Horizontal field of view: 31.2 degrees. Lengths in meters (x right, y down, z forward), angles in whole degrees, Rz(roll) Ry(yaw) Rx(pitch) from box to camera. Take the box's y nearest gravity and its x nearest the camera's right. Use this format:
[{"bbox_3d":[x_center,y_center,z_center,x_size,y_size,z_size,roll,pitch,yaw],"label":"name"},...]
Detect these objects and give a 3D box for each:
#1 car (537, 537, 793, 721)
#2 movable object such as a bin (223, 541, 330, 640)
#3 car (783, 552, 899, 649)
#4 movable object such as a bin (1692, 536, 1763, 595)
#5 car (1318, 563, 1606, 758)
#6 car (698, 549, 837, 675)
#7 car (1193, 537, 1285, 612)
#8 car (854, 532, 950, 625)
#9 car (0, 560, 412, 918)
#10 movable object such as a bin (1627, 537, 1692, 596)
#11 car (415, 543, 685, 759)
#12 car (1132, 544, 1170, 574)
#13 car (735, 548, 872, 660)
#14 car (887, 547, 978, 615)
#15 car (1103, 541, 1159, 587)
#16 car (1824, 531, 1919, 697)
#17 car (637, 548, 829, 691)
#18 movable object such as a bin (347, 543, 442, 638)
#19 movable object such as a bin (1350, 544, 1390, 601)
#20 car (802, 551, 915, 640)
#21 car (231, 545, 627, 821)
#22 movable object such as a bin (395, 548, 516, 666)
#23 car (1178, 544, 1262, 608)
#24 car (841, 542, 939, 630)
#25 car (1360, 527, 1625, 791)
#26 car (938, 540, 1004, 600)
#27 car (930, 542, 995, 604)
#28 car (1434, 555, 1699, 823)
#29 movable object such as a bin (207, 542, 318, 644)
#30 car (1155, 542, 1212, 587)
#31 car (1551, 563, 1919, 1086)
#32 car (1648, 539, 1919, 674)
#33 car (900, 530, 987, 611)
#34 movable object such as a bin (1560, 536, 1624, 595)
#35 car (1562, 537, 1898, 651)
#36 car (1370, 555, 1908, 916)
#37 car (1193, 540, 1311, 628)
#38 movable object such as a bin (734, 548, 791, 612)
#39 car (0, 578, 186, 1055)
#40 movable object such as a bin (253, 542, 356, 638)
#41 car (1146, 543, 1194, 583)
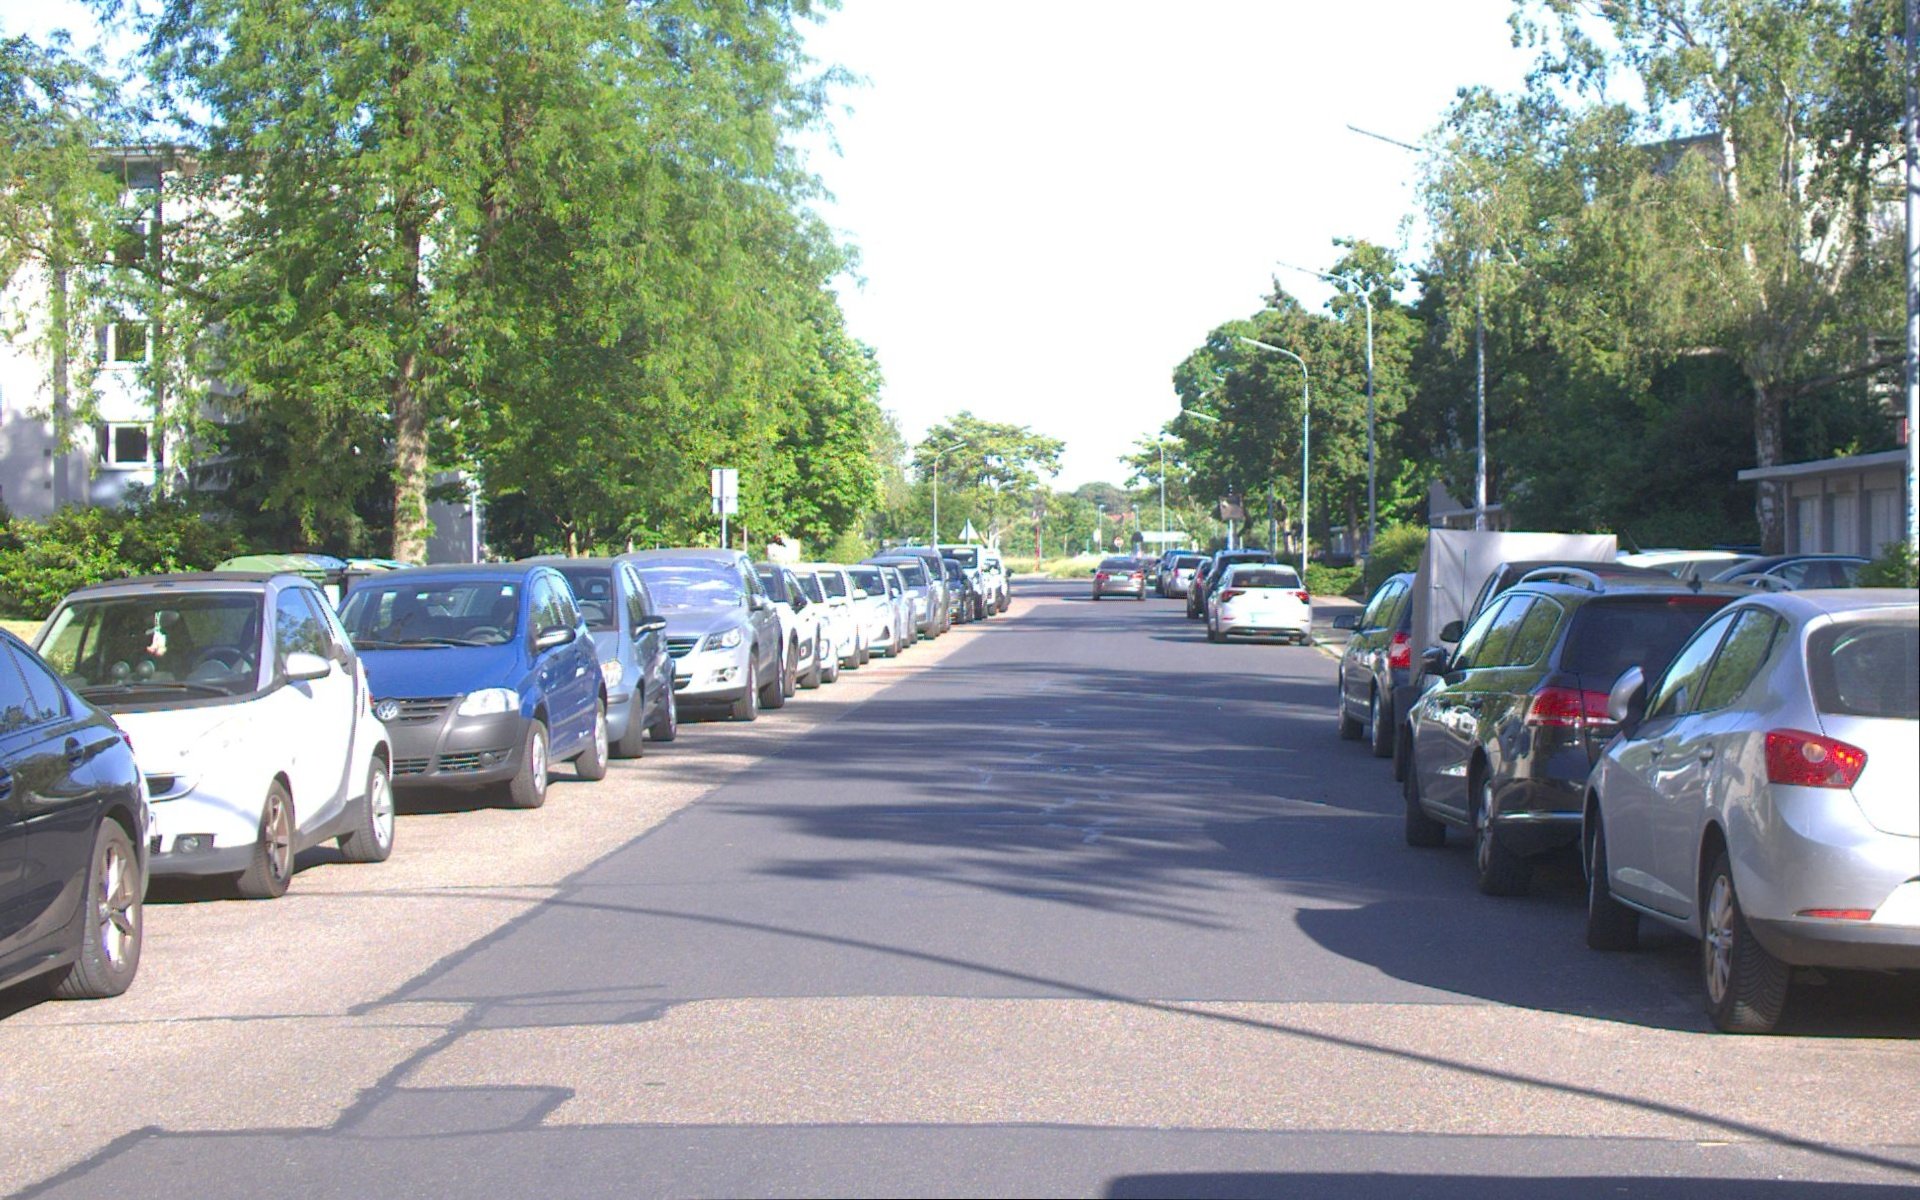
[{"bbox_3d":[-2.789,0.228,33.414,1.903,1.634,4.349,-1,1,2],"label":"car"},{"bbox_3d":[-10.286,-0.149,51.777,1.178,1.416,1.462,2,1,5],"label":"movable object such as a bin"},{"bbox_3d":[-1.908,-0.018,55.965,1.686,1.500,3.818,-1,1,1],"label":"car"},{"bbox_3d":[17.602,-0.799,78.878,1.254,1.348,1.279,0,1,-6],"label":"movable object such as a bin"},{"bbox_3d":[3.974,0.434,27.801,1.731,1.399,3.895,1,1,0],"label":"car"},{"bbox_3d":[-2.476,0.118,43.844,1.662,1.508,3.538,-1,1,-4],"label":"car"},{"bbox_3d":[6.345,-0.607,78.658,1.908,1.634,4.628,1,1,2],"label":"car"},{"bbox_3d":[-1.198,-0.477,72.917,1.854,1.886,4.418,-1,1,1],"label":"car"},{"bbox_3d":[-3.790,0.618,17.239,1.444,1.569,3.142,-2,1,1],"label":"car"},{"bbox_3d":[16.030,-0.775,78.827,1.255,1.348,1.279,0,1,2],"label":"movable object such as a bin"},{"bbox_3d":[-3.242,0.359,27.758,1.635,1.600,3.535,-1,1,1],"label":"car"},{"bbox_3d":[9.991,-2.168,180.034,1.796,1.543,3.952,1,1,0],"label":"car"},{"bbox_3d":[-2.253,0.028,50.309,1.686,1.529,3.891,-1,1,2],"label":"car"},{"bbox_3d":[-0.628,-0.478,81.921,1.746,1.528,4.138,-1,1,5],"label":"car"},{"bbox_3d":[5.855,-1.233,117.785,1.679,1.508,4.104,1,1,0],"label":"car"},{"bbox_3d":[10.350,0.077,32.371,3.942,1.508,1.829,-1,1,0],"label":"car"},{"bbox_3d":[-2.537,0.181,39.168,1.663,1.508,3.945,-1,1,3],"label":"car"},{"bbox_3d":[-8.842,-0.155,53.775,1.134,1.416,1.361,2,1,4],"label":"movable object such as a bin"},{"bbox_3d":[10.660,-0.717,89.381,0.917,1.449,1.232,0,1,2],"label":"movable object such as a bin"},{"bbox_3d":[-1.784,-0.113,61.514,1.686,1.460,4.525,-2,1,2],"label":"car"},{"bbox_3d":[-3.419,0.476,22.849,1.754,1.600,3.968,-2,1,3],"label":"car"},{"bbox_3d":[-6.176,0.074,42.140,1.136,1.378,1.441,2,1,4],"label":"movable object such as a bin"},{"bbox_3d":[6.373,-0.609,84.513,1.908,1.525,4.328,1,1,2],"label":"car"},{"bbox_3d":[-1.345,-0.294,67.085,1.709,1.595,3.986,-3,1,1],"label":"car"},{"bbox_3d":[3.661,0.368,23.977,1.489,1.712,2.583,1,1,2],"label":"car"},{"bbox_3d":[0.344,-0.906,101.899,1.746,1.726,4.005,-1,1,2],"label":"car"},{"bbox_3d":[0.046,-0.772,96.349,1.746,1.664,4.378,-1,1,0],"label":"car"},{"bbox_3d":[3.699,0.499,21.267,1.415,1.518,2.557,1,1,6],"label":"car"},{"bbox_3d":[-10.173,-0.113,50.174,1.178,1.416,1.462,2,1,5],"label":"movable object such as a bin"},{"bbox_3d":[8.076,-1.297,124.648,1.796,1.556,3.952,1,1,0],"label":"car"},{"bbox_3d":[3.178,0.641,11.977,1.623,1.485,4.036,1,1,2],"label":"car"},{"bbox_3d":[10.618,0.055,40.985,4.514,1.508,1.828,-1,1,4],"label":"car"},{"bbox_3d":[-0.399,-0.773,88.019,1.915,1.956,5.087,-1,1,3],"label":"car"},{"bbox_3d":[14.499,-0.800,78.860,1.255,1.348,1.279,0,1,2],"label":"movable object such as a bin"},{"bbox_3d":[10.966,-0.104,49.188,4.415,1.508,1.829,-1,1,3],"label":"car"},{"bbox_3d":[3.166,0.550,16.911,1.731,1.485,4.501,-1,1,0],"label":"car"},{"bbox_3d":[5.284,-0.315,62.605,1.753,1.508,4.104,1,1,0],"label":"car"},{"bbox_3d":[-4.504,-0.463,78.462,1.101,1.416,1.361,2,1,3],"label":"movable object such as a bin"},{"bbox_3d":[-3.922,0.728,10.908,1.754,1.476,4.537,-2,1,1],"label":"car"},{"bbox_3d":[-10.156,-0.164,53.292,1.178,1.416,1.462,2,1,5],"label":"movable object such as a bin"},{"bbox_3d":[8.820,-1.567,144.690,1.796,1.638,3.952,1,1,0],"label":"car"}]
